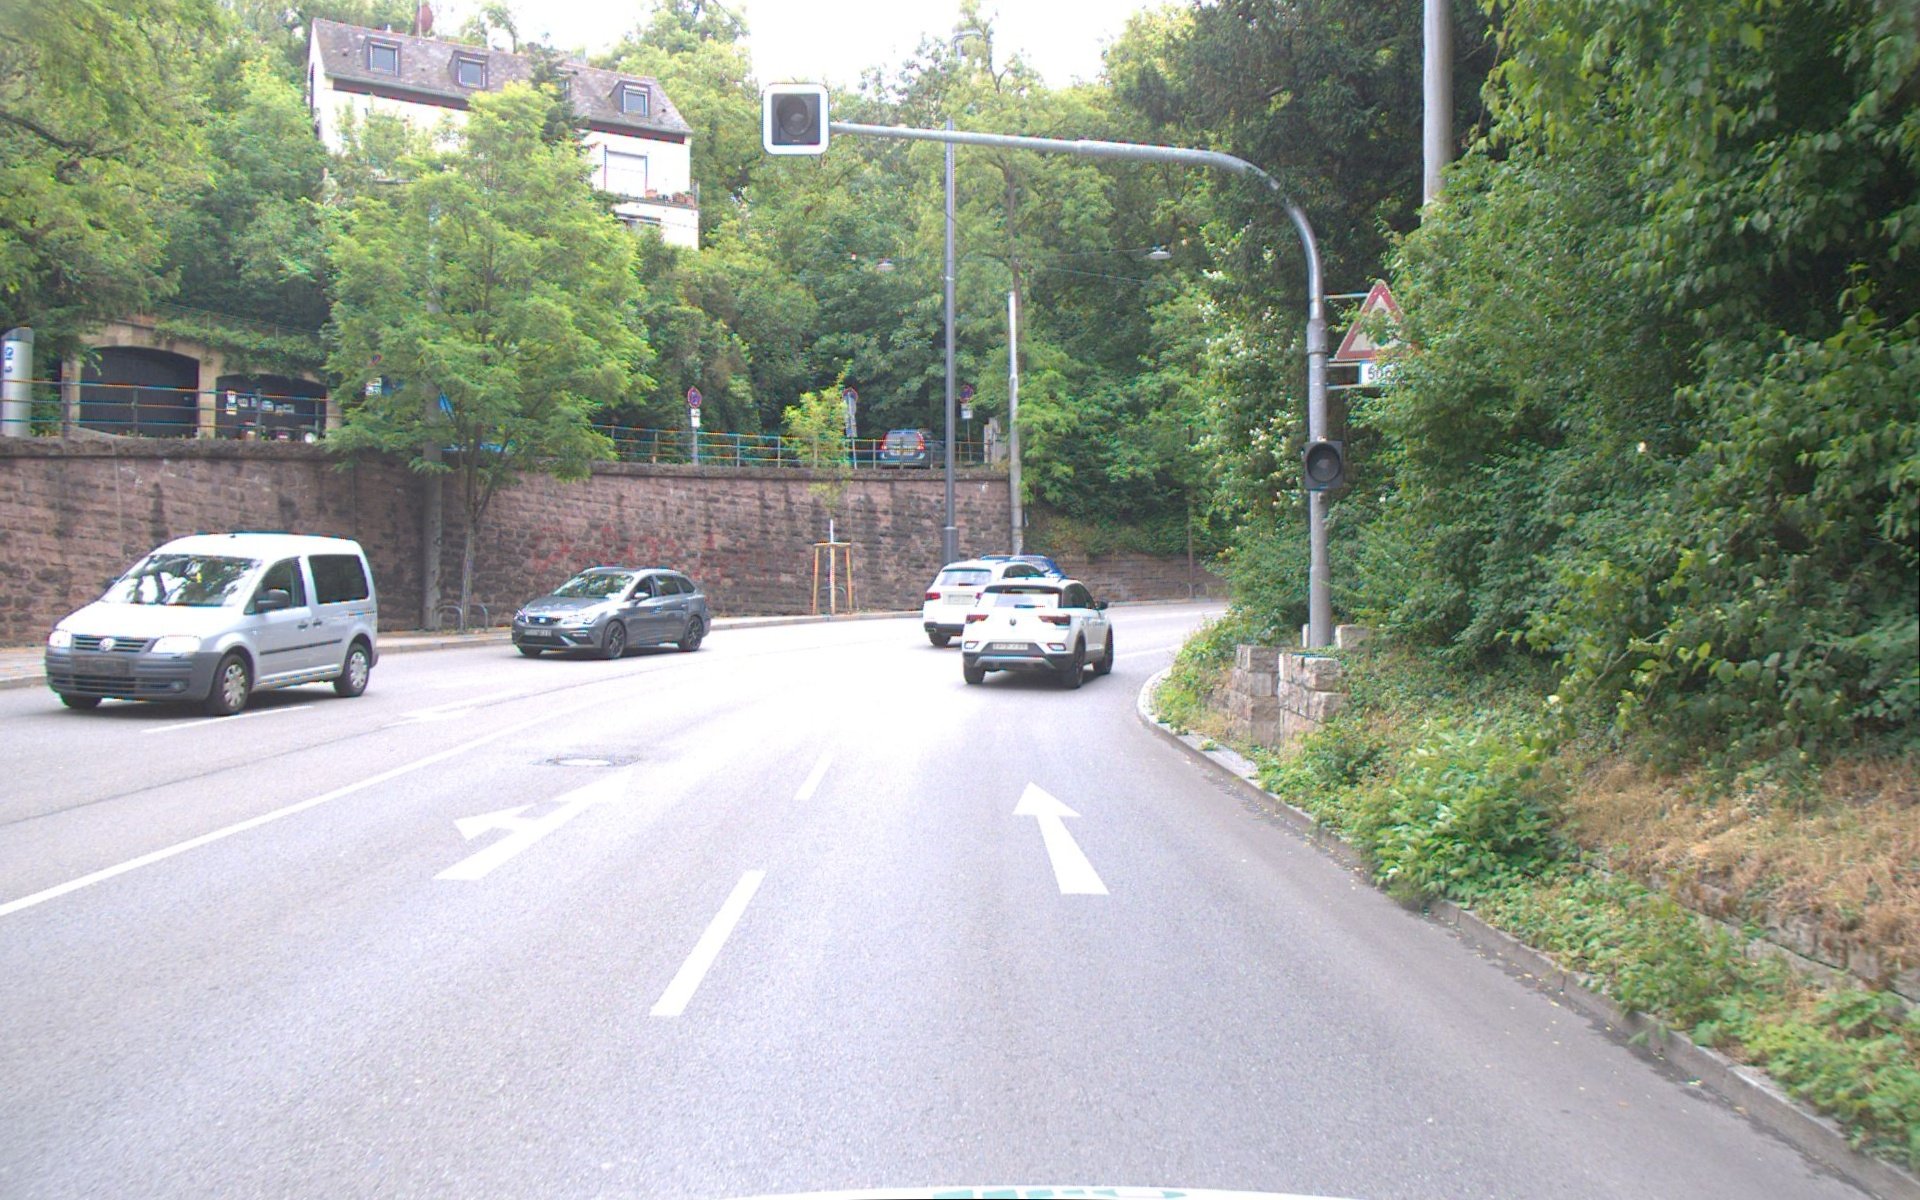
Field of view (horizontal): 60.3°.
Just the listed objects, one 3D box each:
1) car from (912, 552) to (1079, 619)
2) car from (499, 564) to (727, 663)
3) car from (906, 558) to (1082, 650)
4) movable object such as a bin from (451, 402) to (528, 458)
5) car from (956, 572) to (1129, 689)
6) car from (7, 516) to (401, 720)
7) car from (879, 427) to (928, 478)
[{"bbox_3d":[0.940,-0.408,42.355,4.157,1.554,1.709,-2,4,-37],"label":"car"},{"bbox_3d":[-5.838,0.158,28.414,1.746,1.492,4.404,2,2,20],"label":"car"},{"bbox_3d":[0.785,0.014,33.609,1.822,1.633,4.668,3,3,25],"label":"car"},{"bbox_3d":[-12.980,-4.673,45.686,1.227,1.379,1.599,-1,1,36],"label":"movable object such as a bin"},{"bbox_3d":[1.384,0.401,25.847,1.717,1.579,4.341,2,2,16],"label":"car"},{"bbox_3d":[-7.937,0.146,17.916,1.817,1.845,4.452,3,1,6],"label":"car"},{"bbox_3d":[-1.949,-5.145,58.030,1.643,1.403,3.734,1,0,-1],"label":"car"}]
